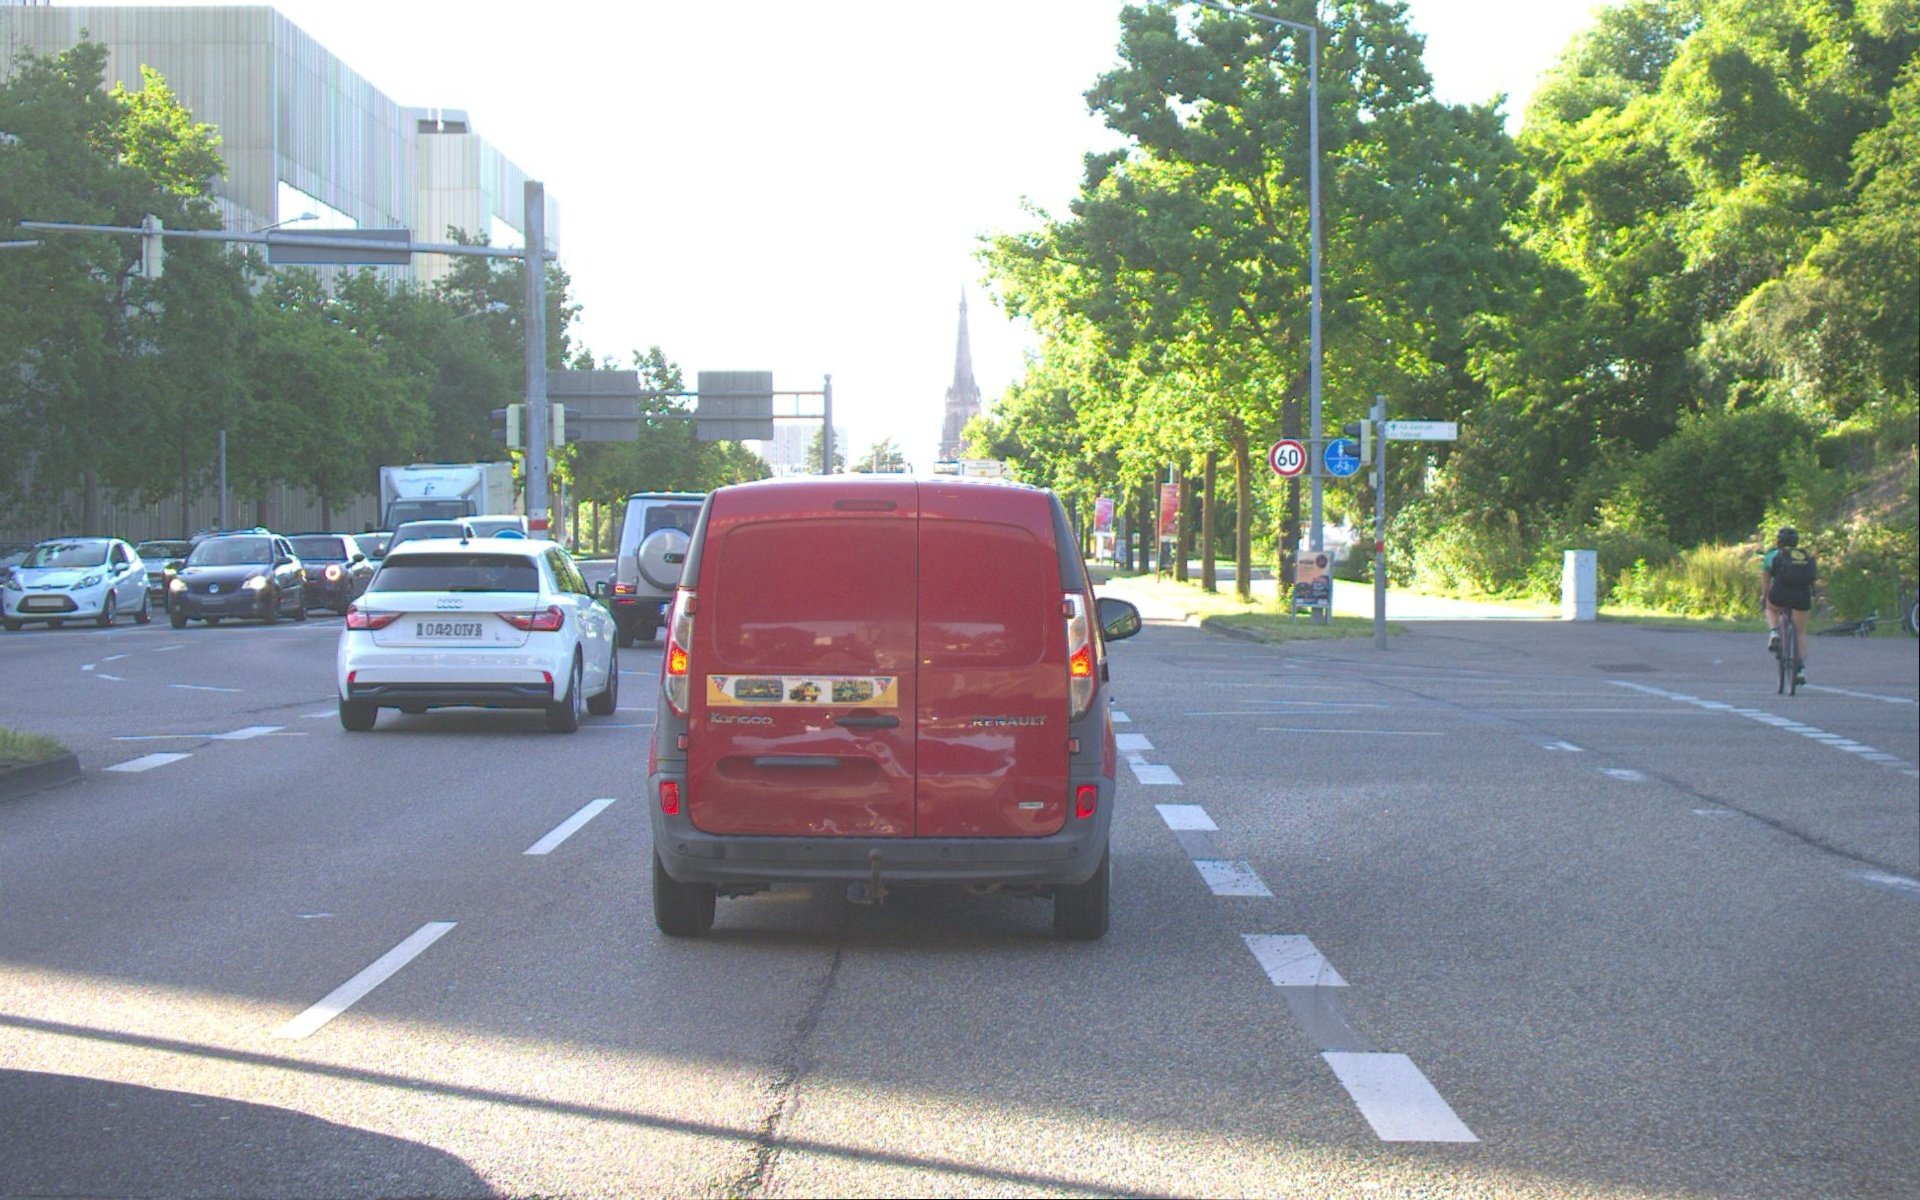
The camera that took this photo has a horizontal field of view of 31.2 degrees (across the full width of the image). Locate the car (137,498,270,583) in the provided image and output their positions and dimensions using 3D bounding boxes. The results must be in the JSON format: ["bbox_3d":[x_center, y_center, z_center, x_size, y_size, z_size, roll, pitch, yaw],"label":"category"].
[{"bbox_3d":[-14.795,-1.155,67.453,1.646,1.540,4.398,-2,1,-1],"label":"car"}]

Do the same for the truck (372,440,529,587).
[{"bbox_3d":[-11.170,-1.857,75.836,2.409,3.016,6.657,-2,1,0],"label":"truck"}]

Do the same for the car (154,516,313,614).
[{"bbox_3d":[-11.448,-0.564,54.411,1.636,1.438,4.077,-2,1,0],"label":"car"}]

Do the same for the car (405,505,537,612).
[{"bbox_3d":[-8.721,-0.744,61.600,1.757,1.790,4.083,-2,1,0],"label":"car"}]

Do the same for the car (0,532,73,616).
[{"bbox_3d":[-16.962,-0.446,60.765,1.646,1.429,3.492,-2,1,-1],"label":"car"}]

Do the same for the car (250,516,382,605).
[{"bbox_3d":[-11.207,-0.694,60.031,1.636,1.438,4.077,-2,1,-2],"label":"car"}]

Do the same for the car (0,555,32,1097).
[{"bbox_3d":[-3.485,0.614,7.489,1.733,1.475,4.319,0,0,0],"label":"car"}]

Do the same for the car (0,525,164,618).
[{"bbox_3d":[-14.280,-0.468,55.936,1.646,1.399,3.978,-2,1,1],"label":"car"}]

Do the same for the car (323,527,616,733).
[{"bbox_3d":[-3.650,0.179,26.144,1.813,1.433,3.731,1,1,-2],"label":"car"}]

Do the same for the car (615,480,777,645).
[{"bbox_3d":[-3.347,-0.446,44.312,1.801,1.982,4.589,1,0,-1],"label":"car"}]

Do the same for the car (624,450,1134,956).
[{"bbox_3d":[-0.334,0.384,14.426,1.805,1.788,4.000,1,0,-1],"label":"car"}]

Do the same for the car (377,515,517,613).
[{"bbox_3d":[-8.101,-0.579,54.552,1.636,1.438,3.719,-2,1,0],"label":"car"}]

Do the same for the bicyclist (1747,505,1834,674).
[{"bbox_3d":[8.077,-0.099,33.475,0.592,1.608,0.942,1,0,0],"label":"bicyclist"}]

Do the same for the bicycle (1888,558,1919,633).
[{"bbox_3d":[13.615,-0.047,46.949,1.745,1.020,0.593,1,0,8],"label":"bicycle"}]

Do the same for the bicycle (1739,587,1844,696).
[{"bbox_3d":[8.081,0.400,33.476,0.592,1.020,1.750,1,0,0],"label":"bicycle"}]
